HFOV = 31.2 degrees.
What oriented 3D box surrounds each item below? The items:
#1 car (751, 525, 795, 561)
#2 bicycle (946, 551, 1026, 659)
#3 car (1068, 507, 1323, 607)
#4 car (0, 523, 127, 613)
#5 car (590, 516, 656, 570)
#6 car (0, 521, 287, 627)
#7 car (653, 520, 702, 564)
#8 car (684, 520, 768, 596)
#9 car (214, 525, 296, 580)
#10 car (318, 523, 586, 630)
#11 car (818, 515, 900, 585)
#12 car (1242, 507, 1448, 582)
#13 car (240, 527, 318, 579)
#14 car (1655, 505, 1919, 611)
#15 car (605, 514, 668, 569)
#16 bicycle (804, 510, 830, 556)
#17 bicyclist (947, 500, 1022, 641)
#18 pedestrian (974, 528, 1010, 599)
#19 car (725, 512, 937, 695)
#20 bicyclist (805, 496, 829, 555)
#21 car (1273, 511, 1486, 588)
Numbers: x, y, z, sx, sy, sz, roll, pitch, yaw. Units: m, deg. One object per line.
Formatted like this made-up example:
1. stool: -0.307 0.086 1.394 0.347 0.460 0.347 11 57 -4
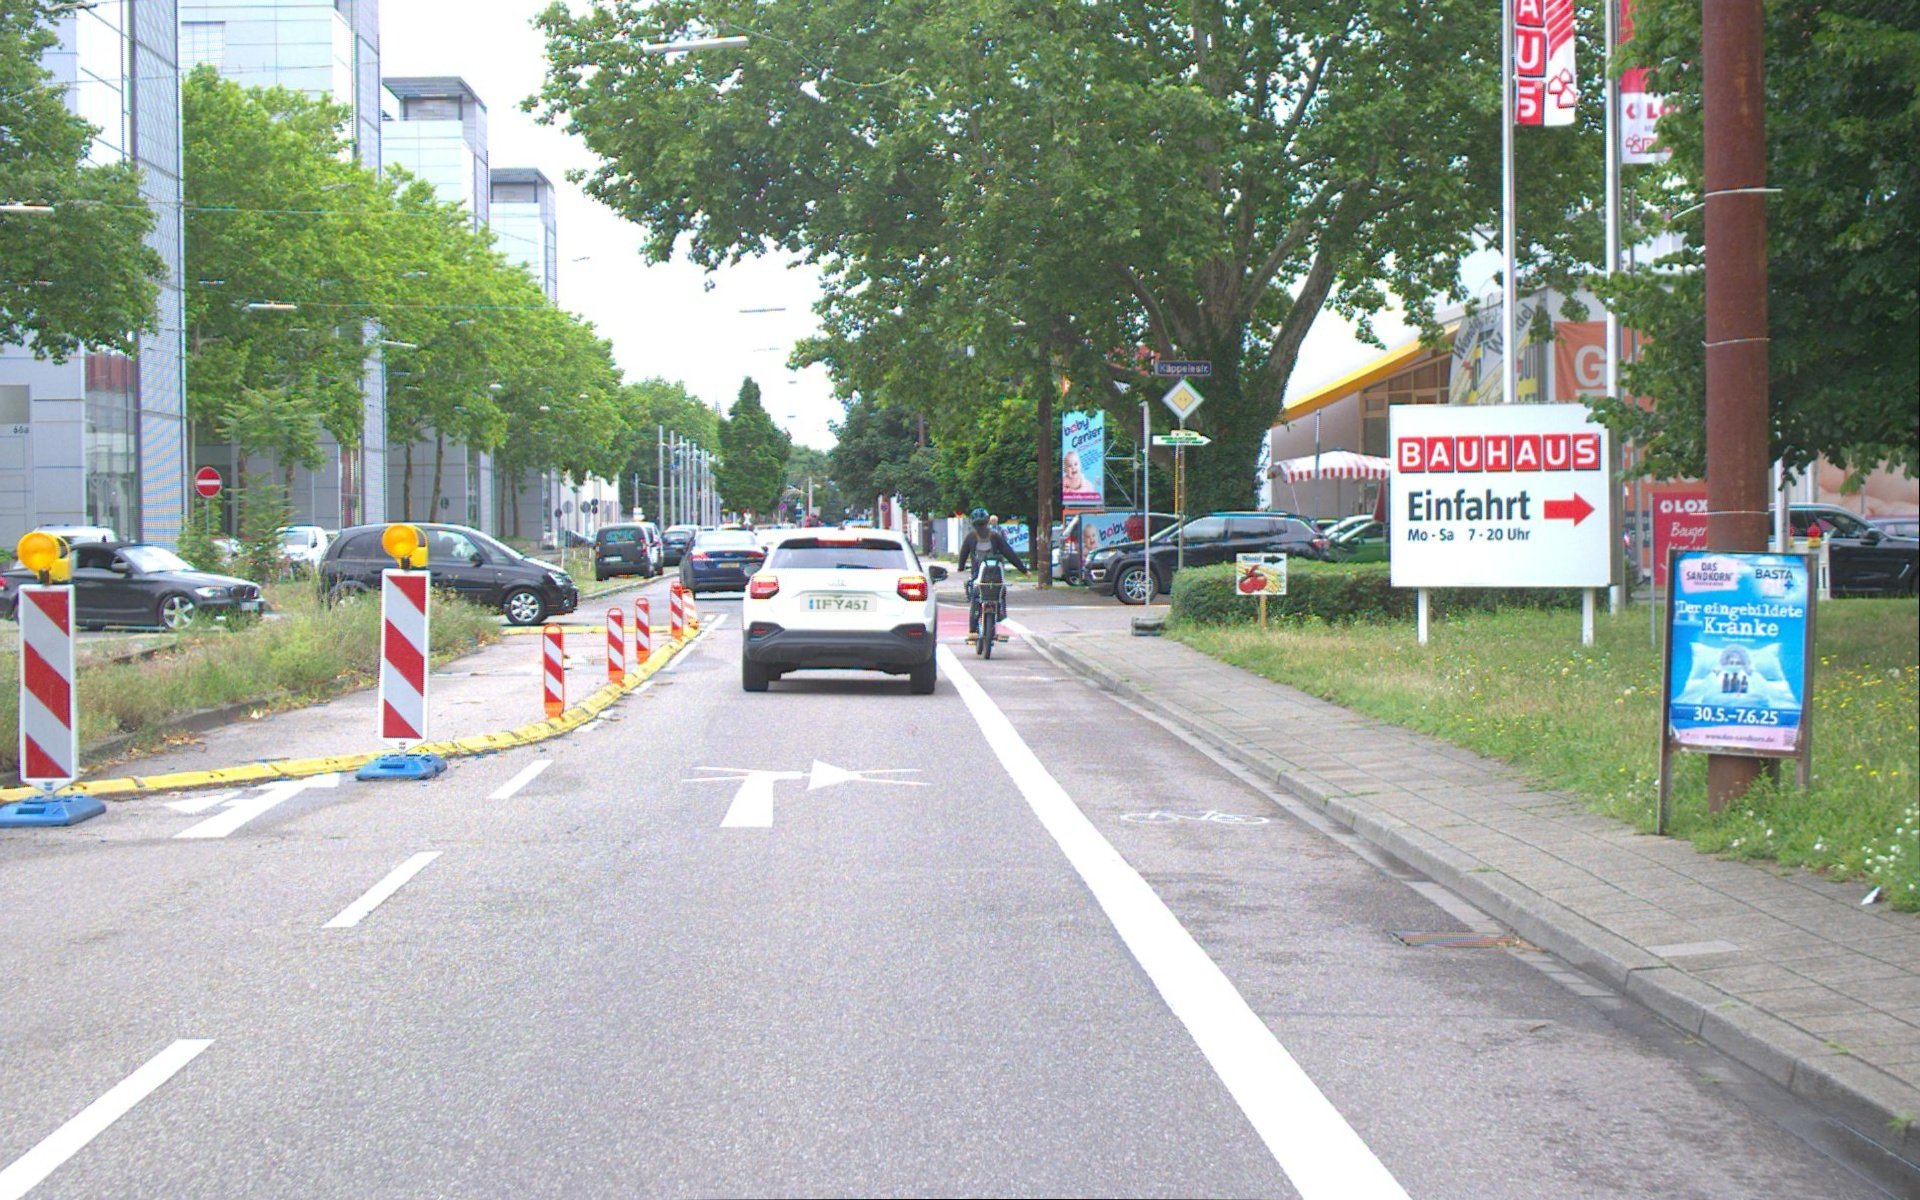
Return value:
1. car: -8.235 -2.524 151.150 1.795 1.508 3.707 1 2 -5
2. bicycle: 0.290 0.035 40.623 0.816 1.208 2.683 -1 1 -2
3. car: 4.131 -0.770 60.794 4.314 1.671 1.993 -1 1 -1
4. car: -18.474 -0.683 71.037 1.819 1.777 4.427 -1 1 -5
5. car: -10.552 -1.800 107.945 1.877 1.627 4.001 -1 1 -3
6. car: -12.577 -0.389 52.572 4.121 1.470 1.823 -2 0 21
7. car: -11.658 -2.394 142.147 1.877 1.757 4.001 -1 1 -3
8. car: -4.933 -0.893 72.103 1.684 1.508 3.707 1 2 -5
9. car: -21.670 -1.471 105.860 1.877 1.627 4.001 -1 1 -3
10. car: -7.813 -0.372 53.125 3.883 1.550 1.826 1 1 -2
11. car: -2.489 -1.243 84.046 1.877 1.627 4.001 -1 1 -3
12. car: 8.410 -1.225 75.307 4.212 1.546 1.790 -1 1 -4
13. car: -22.112 -1.538 111.709 1.877 1.627 4.206 -1 1 -3
14. car: 13.337 -0.670 53.601 4.553 1.566 1.993 -1 1 -2
15. car: -10.694 -1.959 113.759 1.877 1.757 4.001 -1 1 -3
16. bicycle: -4.405 -2.063 105.725 0.670 1.389 2.167 1 2 -5
17. bicyclist: 0.282 -0.354 40.612 0.816 1.624 1.235 -1 1 -2
18. pedestrian: 0.773 -0.886 83.555 0.760 1.699 0.682 -1 1 -7
19. car: -1.280 -0.018 32.616 1.823 1.594 3.777 1 2 -5
20. bicyclist: -4.414 -2.295 105.895 0.670 1.809 0.760 1 2 -5
21. car: 8.913 -1.081 73.177 4.212 1.546 1.790 -1 1 -4
